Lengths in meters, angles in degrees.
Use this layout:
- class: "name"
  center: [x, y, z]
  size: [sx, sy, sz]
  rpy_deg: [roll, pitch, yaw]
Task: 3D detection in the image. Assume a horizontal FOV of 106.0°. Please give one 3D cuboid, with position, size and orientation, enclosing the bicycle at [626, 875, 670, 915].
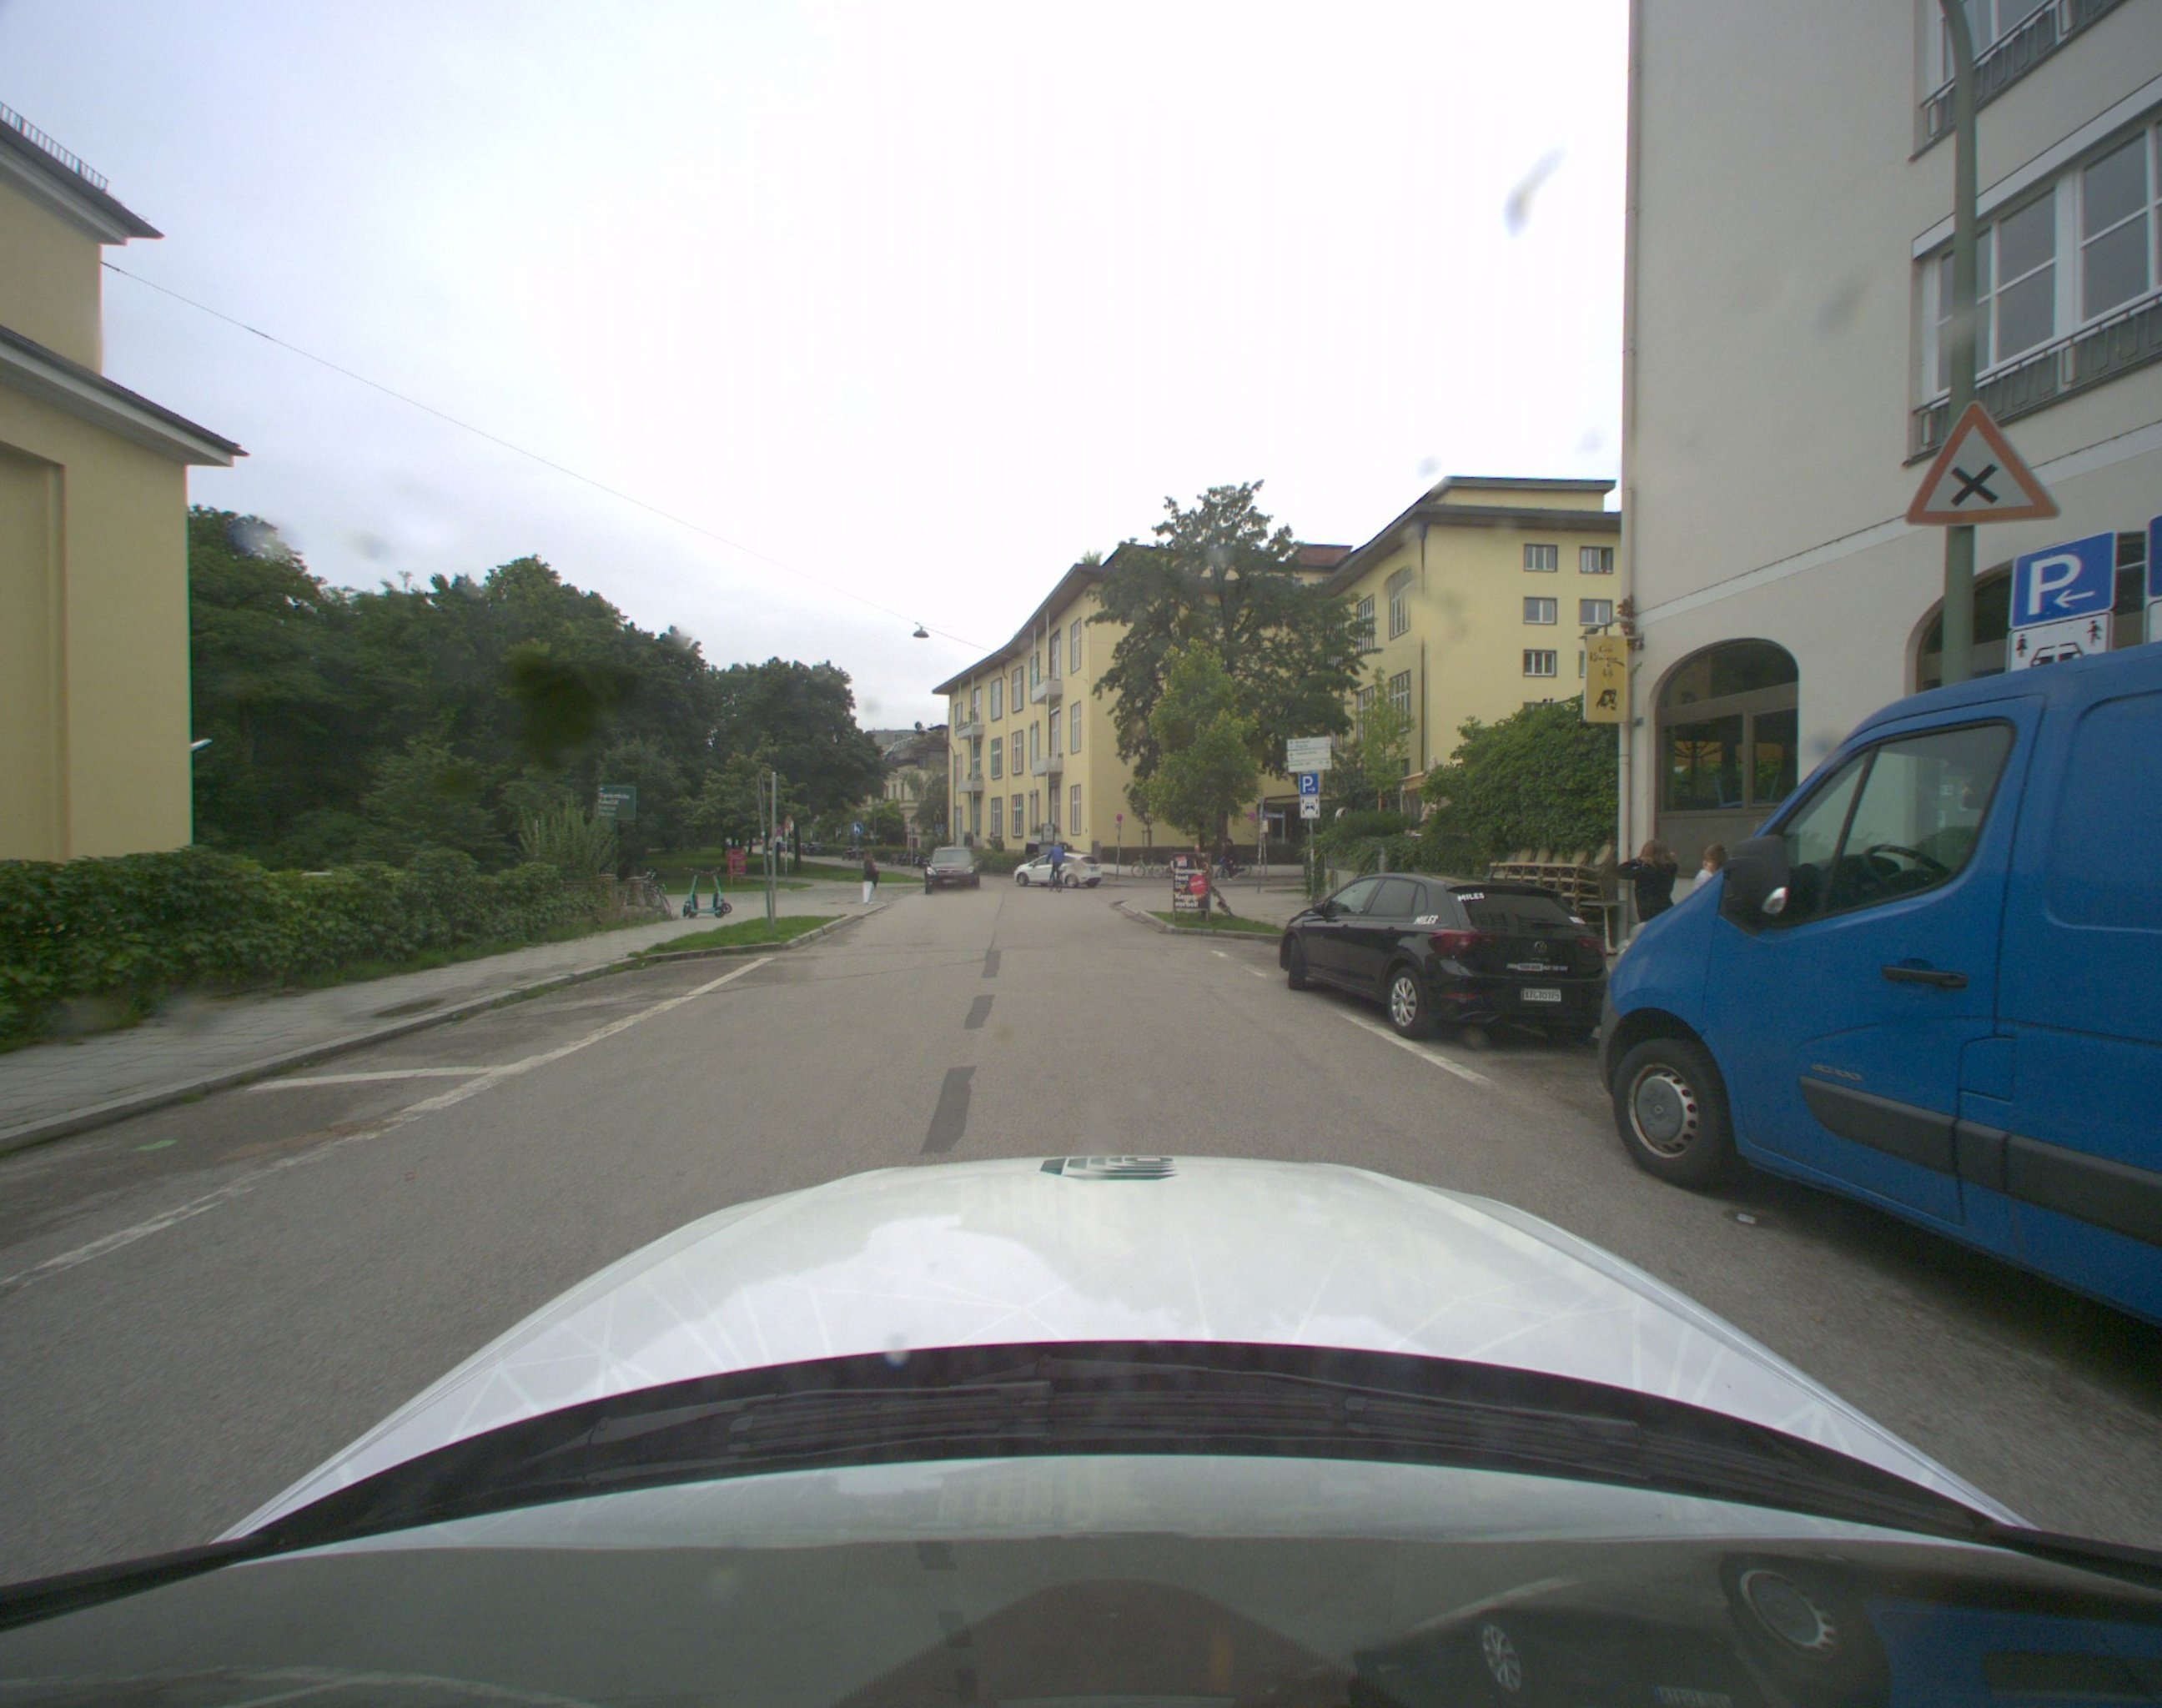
- class: "bicycle"
  center: [-11.146, 1.034, 20.956]
  size: [1.259, 0.977, 0.417]
  rpy_deg: [0, 1, 32]

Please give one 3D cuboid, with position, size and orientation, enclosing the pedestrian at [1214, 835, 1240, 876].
- class: "pedestrian"
  center: [6.567, 0.066, 36.669]
  size: [0.988, 1.809, 0.658]
  rpy_deg: [0, 0, -5]

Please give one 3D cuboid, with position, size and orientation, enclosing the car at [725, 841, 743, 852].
- class: "car"
  center: [-50.860, -1.062, 119.298]
  size: [2.005, 1.600, 4.426]
  rpy_deg: [-1, 1, -28]

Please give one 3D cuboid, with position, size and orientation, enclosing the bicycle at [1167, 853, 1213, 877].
- class: "bicycle"
  center: [5.203, 0.503, 38.911]
  size: [2.153, 1.115, 0.643]
  rpy_deg: [0, 1, 12]

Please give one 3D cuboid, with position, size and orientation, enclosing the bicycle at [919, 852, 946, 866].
- class: "bicycle"
  center: [-11.230, 0.348, 61.446]
  size: [1.988, 1.028, 0.612]
  rpy_deg: [0, 0, -42]

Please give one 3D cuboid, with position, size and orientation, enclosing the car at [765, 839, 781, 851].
- class: "car"
  center: [-49.488, -1.420, 130.839]
  size: [2.076, 1.966, 4.936]
  rpy_deg: [-1, 1, -25]

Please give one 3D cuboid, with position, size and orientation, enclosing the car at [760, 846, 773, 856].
- class: "car"
  center: [-54.383, -0.606, 140.847]
  size: [1.737, 1.702, 3.965]
  rpy_deg: [0, 1, -27]

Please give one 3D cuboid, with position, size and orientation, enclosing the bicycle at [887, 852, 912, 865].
- class: "bicycle"
  center: [-15.395, 0.372, 69.189]
  size: [1.988, 1.028, 0.612]
  rpy_deg: [0, 0, -42]

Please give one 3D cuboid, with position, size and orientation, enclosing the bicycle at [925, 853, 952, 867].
- class: "bicycle"
  center: [-10.577, 0.434, 60.520]
  size: [1.988, 1.028, 0.612]
  rpy_deg: [0, 0, -42]

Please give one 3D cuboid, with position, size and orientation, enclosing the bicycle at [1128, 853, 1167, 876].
- class: "bicycle"
  center: [3.242, 0.533, 40.003]
  size: [1.925, 1.084, 0.532]
  rpy_deg: [-2, -1, 39]

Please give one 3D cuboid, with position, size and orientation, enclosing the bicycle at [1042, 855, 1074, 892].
- class: "bicycle"
  center: [-0.875, 0.707, 30.320]
  size: [0.920, 1.252, 2.315]
  rpy_deg: [0, 1, -8]

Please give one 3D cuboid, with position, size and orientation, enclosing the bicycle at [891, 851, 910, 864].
- class: "bicycle"
  center: [-15.327, 0.313, 69.240]
  size: [1.547, 1.014, 0.404]
  rpy_deg: [-2, 2, -45]

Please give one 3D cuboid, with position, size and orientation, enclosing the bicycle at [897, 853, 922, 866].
- class: "bicycle"
  center: [-14.138, 0.421, 67.334]
  size: [1.988, 1.028, 0.612]
  rpy_deg: [0, 0, -42]

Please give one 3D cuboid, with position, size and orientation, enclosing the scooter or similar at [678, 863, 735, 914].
- class: "scooter or similar"
  center: [-9.337, 0.860, 20.304]
  size: [1.253, 1.244, 0.395]
  rpy_deg: [0, -1, 7]

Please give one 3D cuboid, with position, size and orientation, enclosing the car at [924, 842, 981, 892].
- class: "car"
  center: [-4.901, 0.432, 31.136]
  size: [1.993, 1.719, 4.601]
  rpy_deg: [0, 1, -9]

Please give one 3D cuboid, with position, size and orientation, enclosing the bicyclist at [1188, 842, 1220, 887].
- class: "bicyclist"
  center: [4.571, 0.378, 30.259]
  size: [0.867, 1.609, 1.056]
  rpy_deg: [0, 1, 27]

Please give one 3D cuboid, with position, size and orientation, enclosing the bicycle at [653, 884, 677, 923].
- class: "bicycle"
  center: [-10.066, 1.182, 19.726]
  size: [0.435, 0.893, 1.320]
  rpy_deg: [0, -1, -23]

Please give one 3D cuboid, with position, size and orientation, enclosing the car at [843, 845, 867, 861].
- class: "car"
  center: [-22.802, -0.111, 82.003]
  size: [1.656, 1.558, 3.529]
  rpy_deg: [-1, 1, -27]

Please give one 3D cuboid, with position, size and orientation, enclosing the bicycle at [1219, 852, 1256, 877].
- class: "bicycle"
  center: [7.400, 0.489, 38.607]
  size: [1.679, 1.130, 0.459]
  rpy_deg: [0, 1, -6]

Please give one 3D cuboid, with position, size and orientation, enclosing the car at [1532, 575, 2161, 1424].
- class: "car"
  center: [3.878, 0.437, 2.385]
  size: [2.104, 2.214, 5.024]
  rpy_deg: [5, -1, -2]

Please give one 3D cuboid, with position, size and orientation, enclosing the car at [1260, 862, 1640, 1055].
- class: "car"
  center: [3.403, 0.862, 8.465]
  size: [1.713, 1.394, 3.990]
  rpy_deg: [3, 0, -7]

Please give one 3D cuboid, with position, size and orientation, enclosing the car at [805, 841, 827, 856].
- class: "car"
  center: [-32.302, -0.679, 99.109]
  size: [1.804, 1.679, 3.962]
  rpy_deg: [-1, 1, -30]

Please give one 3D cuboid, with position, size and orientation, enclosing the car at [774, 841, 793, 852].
- class: "car"
  center: [-44.865, -1.152, 122.651]
  size: [2.006, 1.600, 4.214]
  rpy_deg: [-1, 1, -29]

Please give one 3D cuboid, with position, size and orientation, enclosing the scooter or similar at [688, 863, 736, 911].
- class: "scooter or similar"
  center: [-9.521, 0.846, 21.038]
  size: [0.434, 1.212, 1.059]
  rpy_deg: [-1, -2, 28]

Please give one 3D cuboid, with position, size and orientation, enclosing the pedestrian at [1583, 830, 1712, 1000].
- class: "pedestrian"
  center: [5.747, 0.589, 8.302]
  size: [0.677, 1.628, 0.828]
  rpy_deg: [-1, 0, -6]

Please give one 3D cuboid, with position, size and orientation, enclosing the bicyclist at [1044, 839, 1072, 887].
- class: "bicyclist"
  center: [-0.874, 0.314, 30.342]
  size: [0.914, 1.764, 1.211]
  rpy_deg: [0, 1, -9]

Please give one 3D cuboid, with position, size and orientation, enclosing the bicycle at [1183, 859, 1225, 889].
- class: "bicycle"
  center: [4.604, 0.740, 30.339]
  size: [0.868, 1.019, 2.204]
  rpy_deg: [0, 1, 27]

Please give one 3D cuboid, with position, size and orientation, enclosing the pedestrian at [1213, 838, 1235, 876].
- class: "pedestrian"
  center: [6.613, 0.144, 37.663]
  size: [0.825, 1.746, 0.739]
  rpy_deg: [0, 1, -5]

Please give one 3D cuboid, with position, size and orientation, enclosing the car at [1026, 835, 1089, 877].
- class: "car"
  center: [-1.228, 0.051, 39.678]
  size: [1.878, 1.887, 4.591]
  rpy_deg: [-1, 1, -18]

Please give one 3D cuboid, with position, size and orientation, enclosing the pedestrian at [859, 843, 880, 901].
- class: "pedestrian"
  center: [-6.371, 0.536, 24.498]
  size: [0.543, 1.697, 0.663]
  rpy_deg: [-2, 1, -16]

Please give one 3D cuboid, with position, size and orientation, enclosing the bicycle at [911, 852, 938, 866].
- class: "bicycle"
  center: [-11.994, 0.352, 62.437]
  size: [1.988, 1.028, 0.612]
  rpy_deg: [0, 0, -42]

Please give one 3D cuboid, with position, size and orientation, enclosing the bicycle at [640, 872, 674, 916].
- class: "bicycle"
  center: [-10.944, 1.018, 21.005]
  size: [1.176, 1.111, 0.303]
  rpy_deg: [-1, -1, 37]

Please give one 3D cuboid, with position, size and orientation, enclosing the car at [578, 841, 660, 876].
- class: "car"
  center: [-28.086, 0.223, 49.616]
  size: [1.765, 2.013, 4.024]
  rpy_deg: [0, 1, 27]

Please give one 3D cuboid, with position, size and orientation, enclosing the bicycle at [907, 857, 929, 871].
- class: "bicycle"
  center: [-12.711, 0.788, 63.683]
  size: [0.527, 1.028, 1.990]
  rpy_deg: [0, 0, 28]

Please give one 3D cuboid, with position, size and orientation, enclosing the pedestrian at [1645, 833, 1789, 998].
- class: "pedestrian"
  center: [6.537, 0.602, 8.414]
  size: [0.805, 1.606, 0.828]
  rpy_deg: [-1, 0, -5]

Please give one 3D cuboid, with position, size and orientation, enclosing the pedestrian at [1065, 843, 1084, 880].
- class: "pedestrian"
  center: [-0.317, 0.357, 39.557]
  size: [0.846, 1.757, 0.953]
  rpy_deg: [-1, 1, -3]

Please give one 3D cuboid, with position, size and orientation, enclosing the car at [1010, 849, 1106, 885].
- class: "car"
  center: [-0.970, 0.511, 34.386]
  size: [3.679, 1.406, 1.764]
  rpy_deg: [0, 1, 31]

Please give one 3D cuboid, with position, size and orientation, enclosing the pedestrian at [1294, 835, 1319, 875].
- class: "pedestrian"
  center: [10.538, 0.034, 38.077]
  size: [0.849, 1.857, 0.765]
  rpy_deg: [-1, 0, -5]
